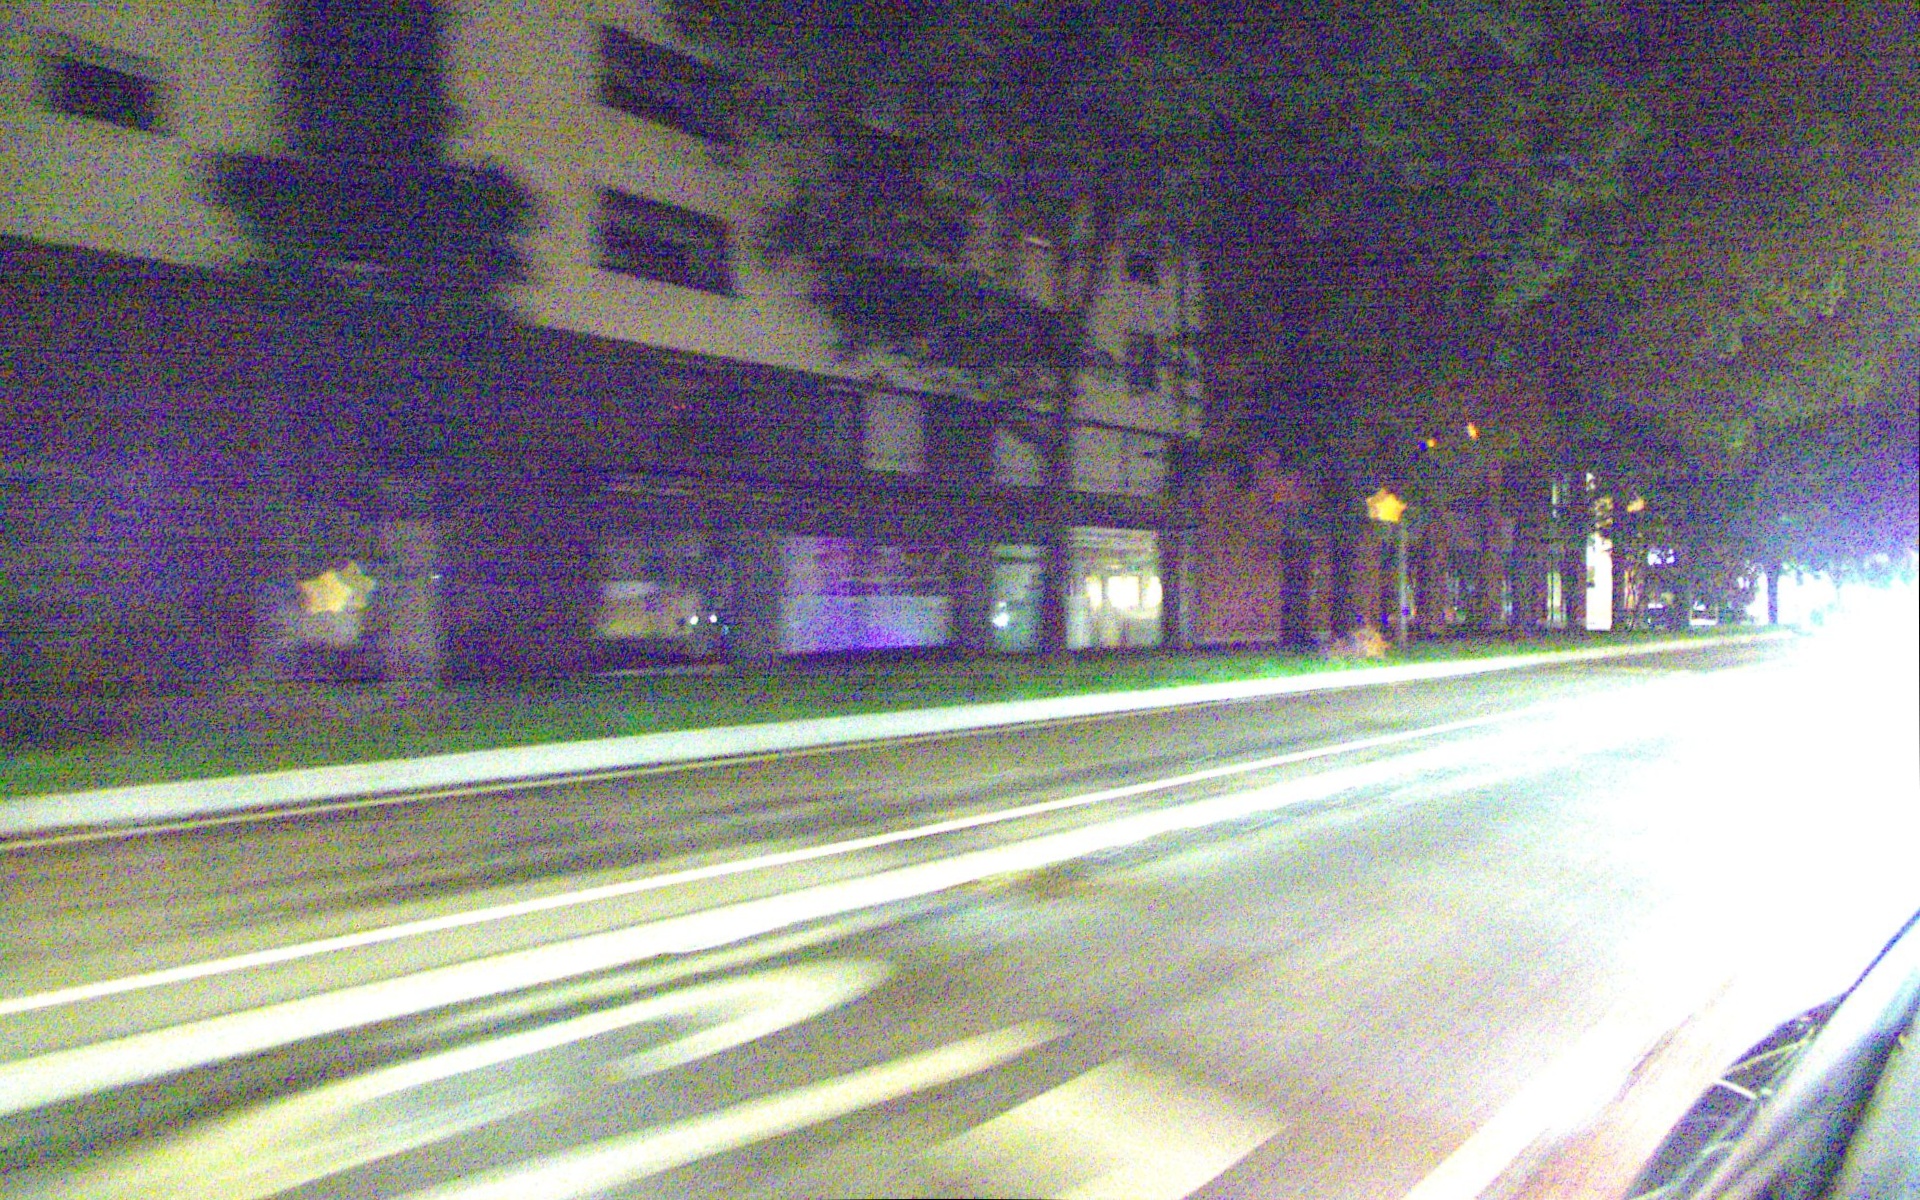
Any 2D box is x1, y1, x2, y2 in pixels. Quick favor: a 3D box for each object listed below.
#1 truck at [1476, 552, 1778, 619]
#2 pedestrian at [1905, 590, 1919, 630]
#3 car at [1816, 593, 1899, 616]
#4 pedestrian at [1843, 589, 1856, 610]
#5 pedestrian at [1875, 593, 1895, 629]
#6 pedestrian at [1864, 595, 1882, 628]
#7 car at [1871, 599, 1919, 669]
[{"bbox_3d":[44.171,-1.094,68.254,3.077,4.033,16.810,-1,2,-41],"label":"truck"},{"bbox_3d":[44.171,0.457,46.756,0.746,1.834,0.623,0,1,-41],"label":"pedestrian"},{"bbox_3d":[61.821,0.288,69.715,1.756,1.472,4.089,-1,2,-41],"label":"car"},{"bbox_3d":[77.841,-0.042,88.557,0.953,1.811,0.720,0,1,-41],"label":"pedestrian"},{"bbox_3d":[43.520,0.494,47.613,0.667,1.659,0.622,0,1,-41],"label":"pedestrian"},{"bbox_3d":[44.190,0.545,48.990,0.622,1.553,0.573,0,1,-41],"label":"pedestrian"},{"bbox_3d":[21.877,0.718,22.622,4.420,1.448,1.727,0,0,-41],"label":"car"}]
